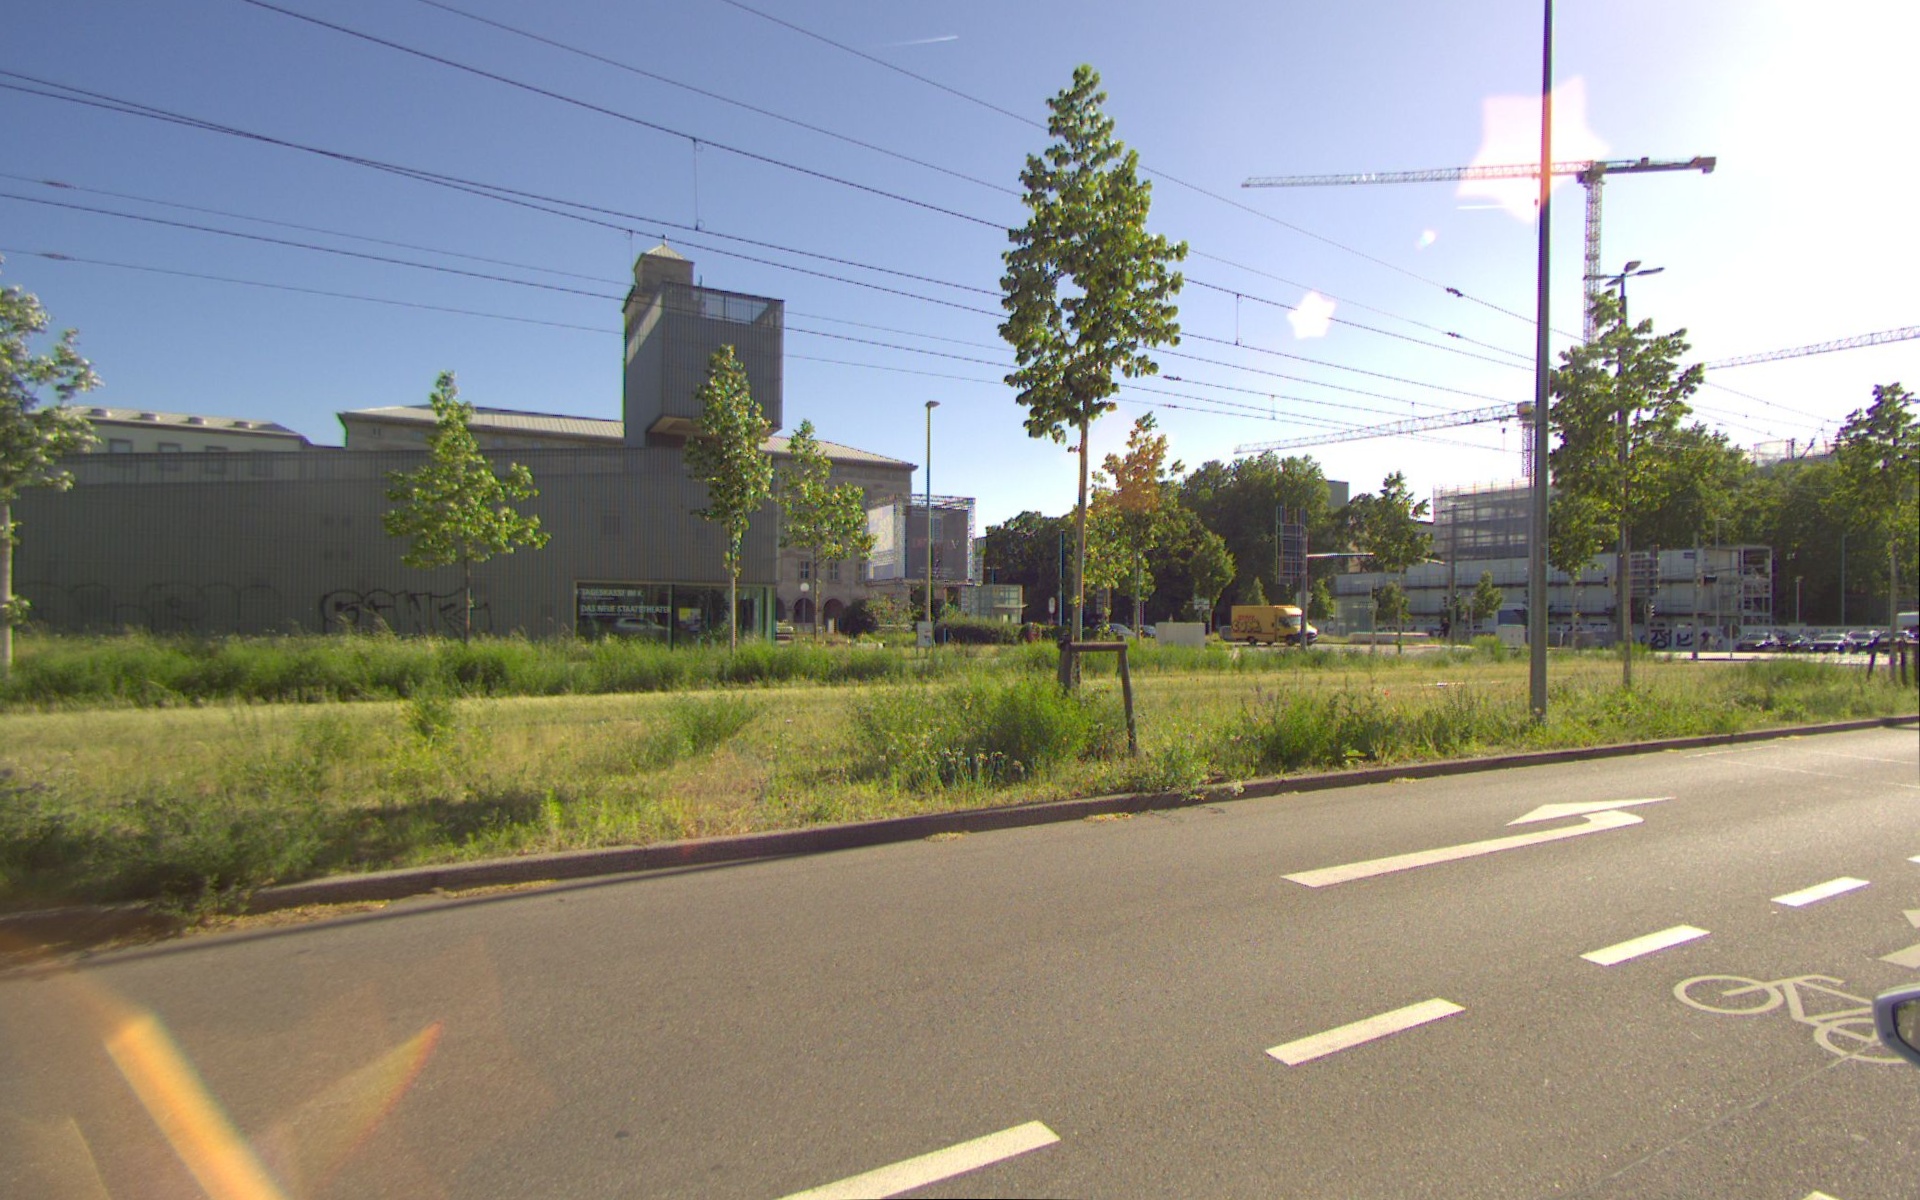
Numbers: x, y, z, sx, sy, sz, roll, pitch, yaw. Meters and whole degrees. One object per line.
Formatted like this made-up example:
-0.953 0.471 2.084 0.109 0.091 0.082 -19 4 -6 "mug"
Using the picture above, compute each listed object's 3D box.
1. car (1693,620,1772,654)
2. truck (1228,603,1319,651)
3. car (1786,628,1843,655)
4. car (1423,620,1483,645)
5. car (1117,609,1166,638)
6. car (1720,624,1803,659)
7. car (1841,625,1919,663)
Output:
30.303 1.445 39.402 3.184 1.194 1.369 2 0 -31 "car"
22.364 1.878 72.067 1.974 3.002 6.941 2 0 -26 "truck"
58.720 2.852 69.025 3.851 1.634 1.828 2 0 -31 "car"
33.400 2.197 68.040 3.953 1.577 1.702 2 0 -30 "car"
14.384 1.853 79.902 1.747 2.040 3.971 2 0 -28 "car"
29.708 1.548 37.225 3.184 1.194 1.369 2 0 -31 "car"
32.263 1.535 35.056 3.184 1.194 1.369 2 0 -31 "car"
